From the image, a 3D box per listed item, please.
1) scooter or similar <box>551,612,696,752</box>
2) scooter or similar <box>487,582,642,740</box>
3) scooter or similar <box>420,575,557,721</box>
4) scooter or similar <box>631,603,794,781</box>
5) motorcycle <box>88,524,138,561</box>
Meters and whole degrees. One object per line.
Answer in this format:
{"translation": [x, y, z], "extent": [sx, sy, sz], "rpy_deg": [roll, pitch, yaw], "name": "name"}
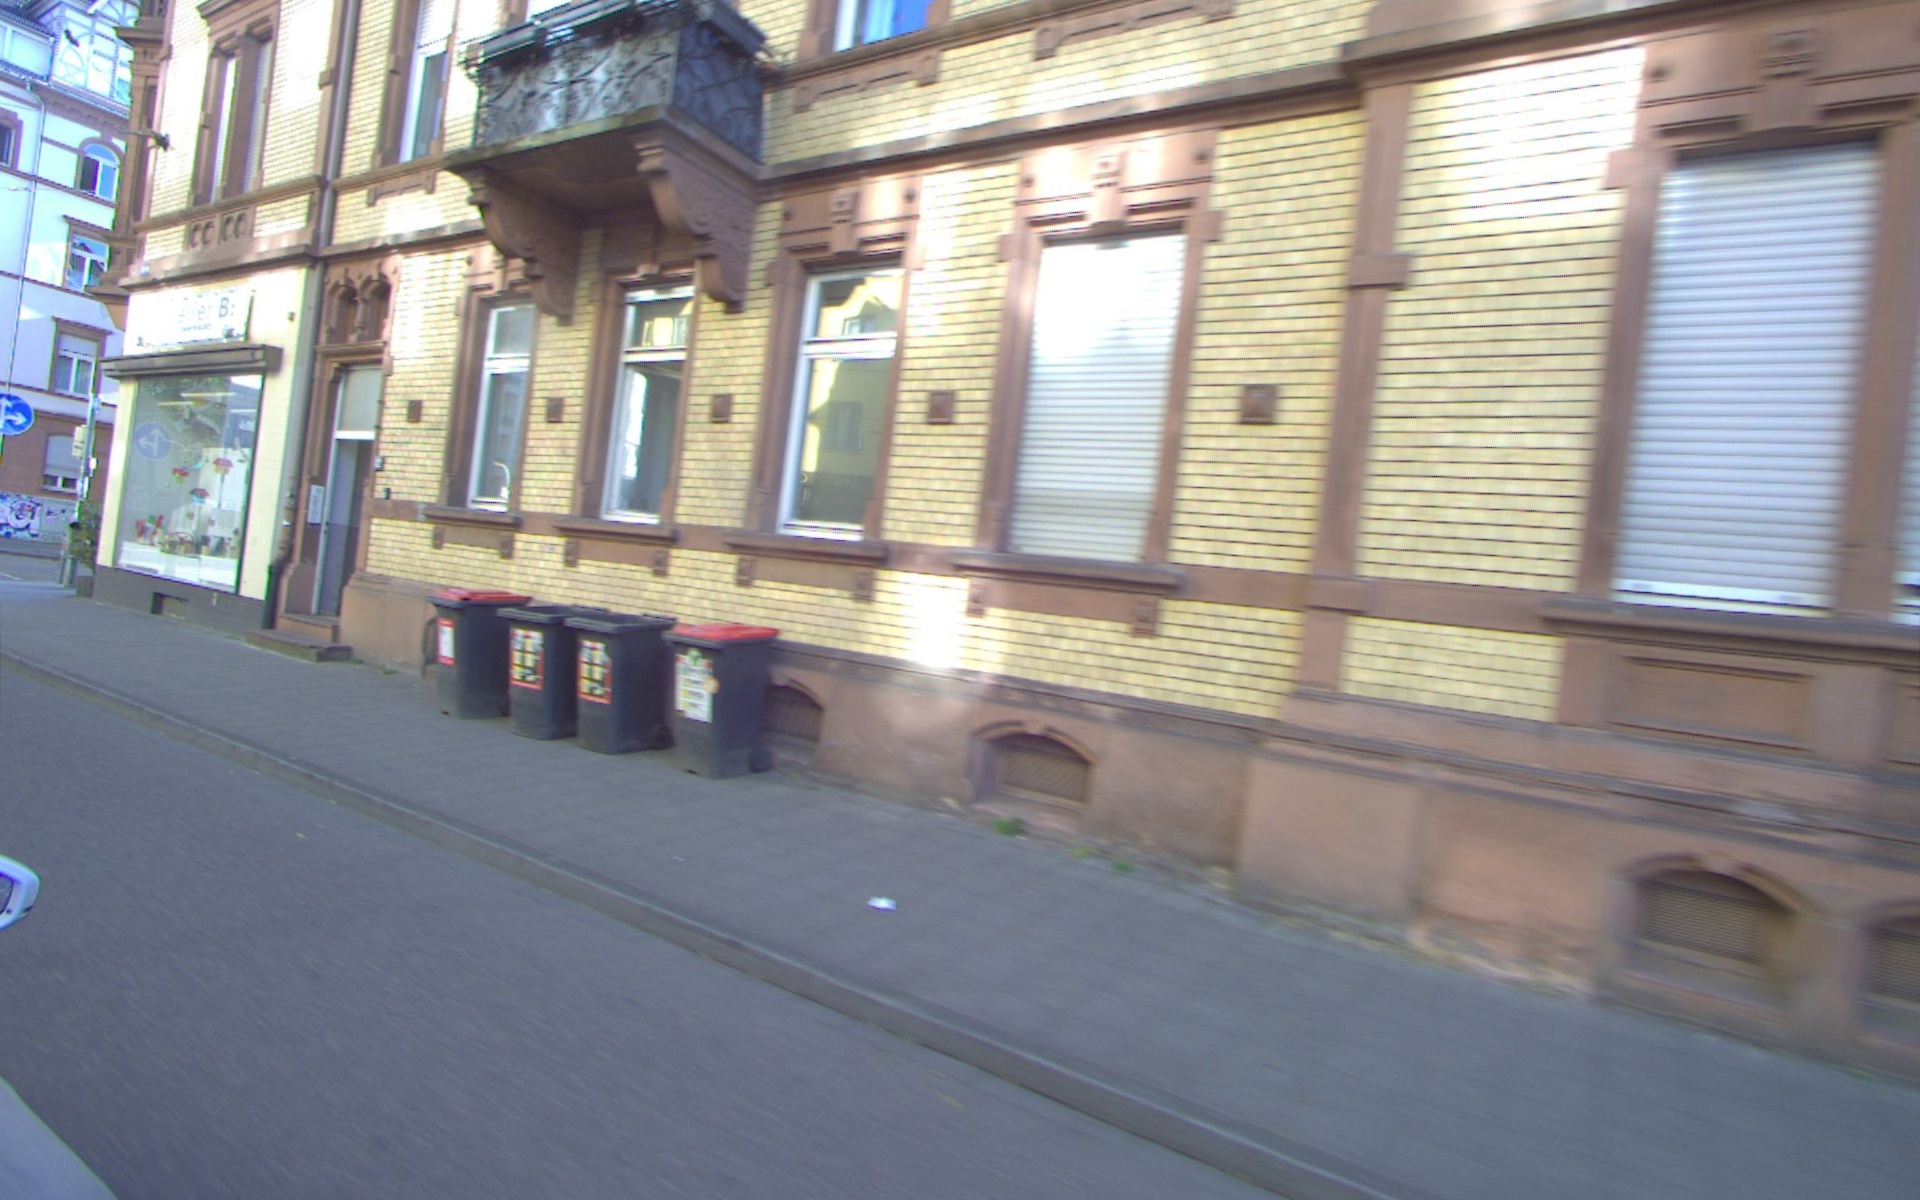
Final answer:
{"translation": [-2.643, 0.615, 7.929], "extent": [0.669, 0.970, 0.790], "rpy_deg": [7, 4, 31], "name": "scooter or similar"}
{"translation": [-3.237, 0.476, 8.264], "extent": [0.639, 1.164, 0.933], "rpy_deg": [7, 4, 31], "name": "scooter or similar"}
{"translation": [-4.103, 0.397, 8.784], "extent": [0.538, 1.164, 0.897], "rpy_deg": [7, 4, 31], "name": "scooter or similar"}
{"translation": [-1.827, 0.641, 7.465], "extent": [0.777, 1.164, 0.790], "rpy_deg": [7, 4, 31], "name": "scooter or similar"}
{"translation": [-30.834, -2.092, 36.604], "extent": [2.351, 1.138, 0.612], "rpy_deg": [7, 0, 32], "name": "motorcycle"}
